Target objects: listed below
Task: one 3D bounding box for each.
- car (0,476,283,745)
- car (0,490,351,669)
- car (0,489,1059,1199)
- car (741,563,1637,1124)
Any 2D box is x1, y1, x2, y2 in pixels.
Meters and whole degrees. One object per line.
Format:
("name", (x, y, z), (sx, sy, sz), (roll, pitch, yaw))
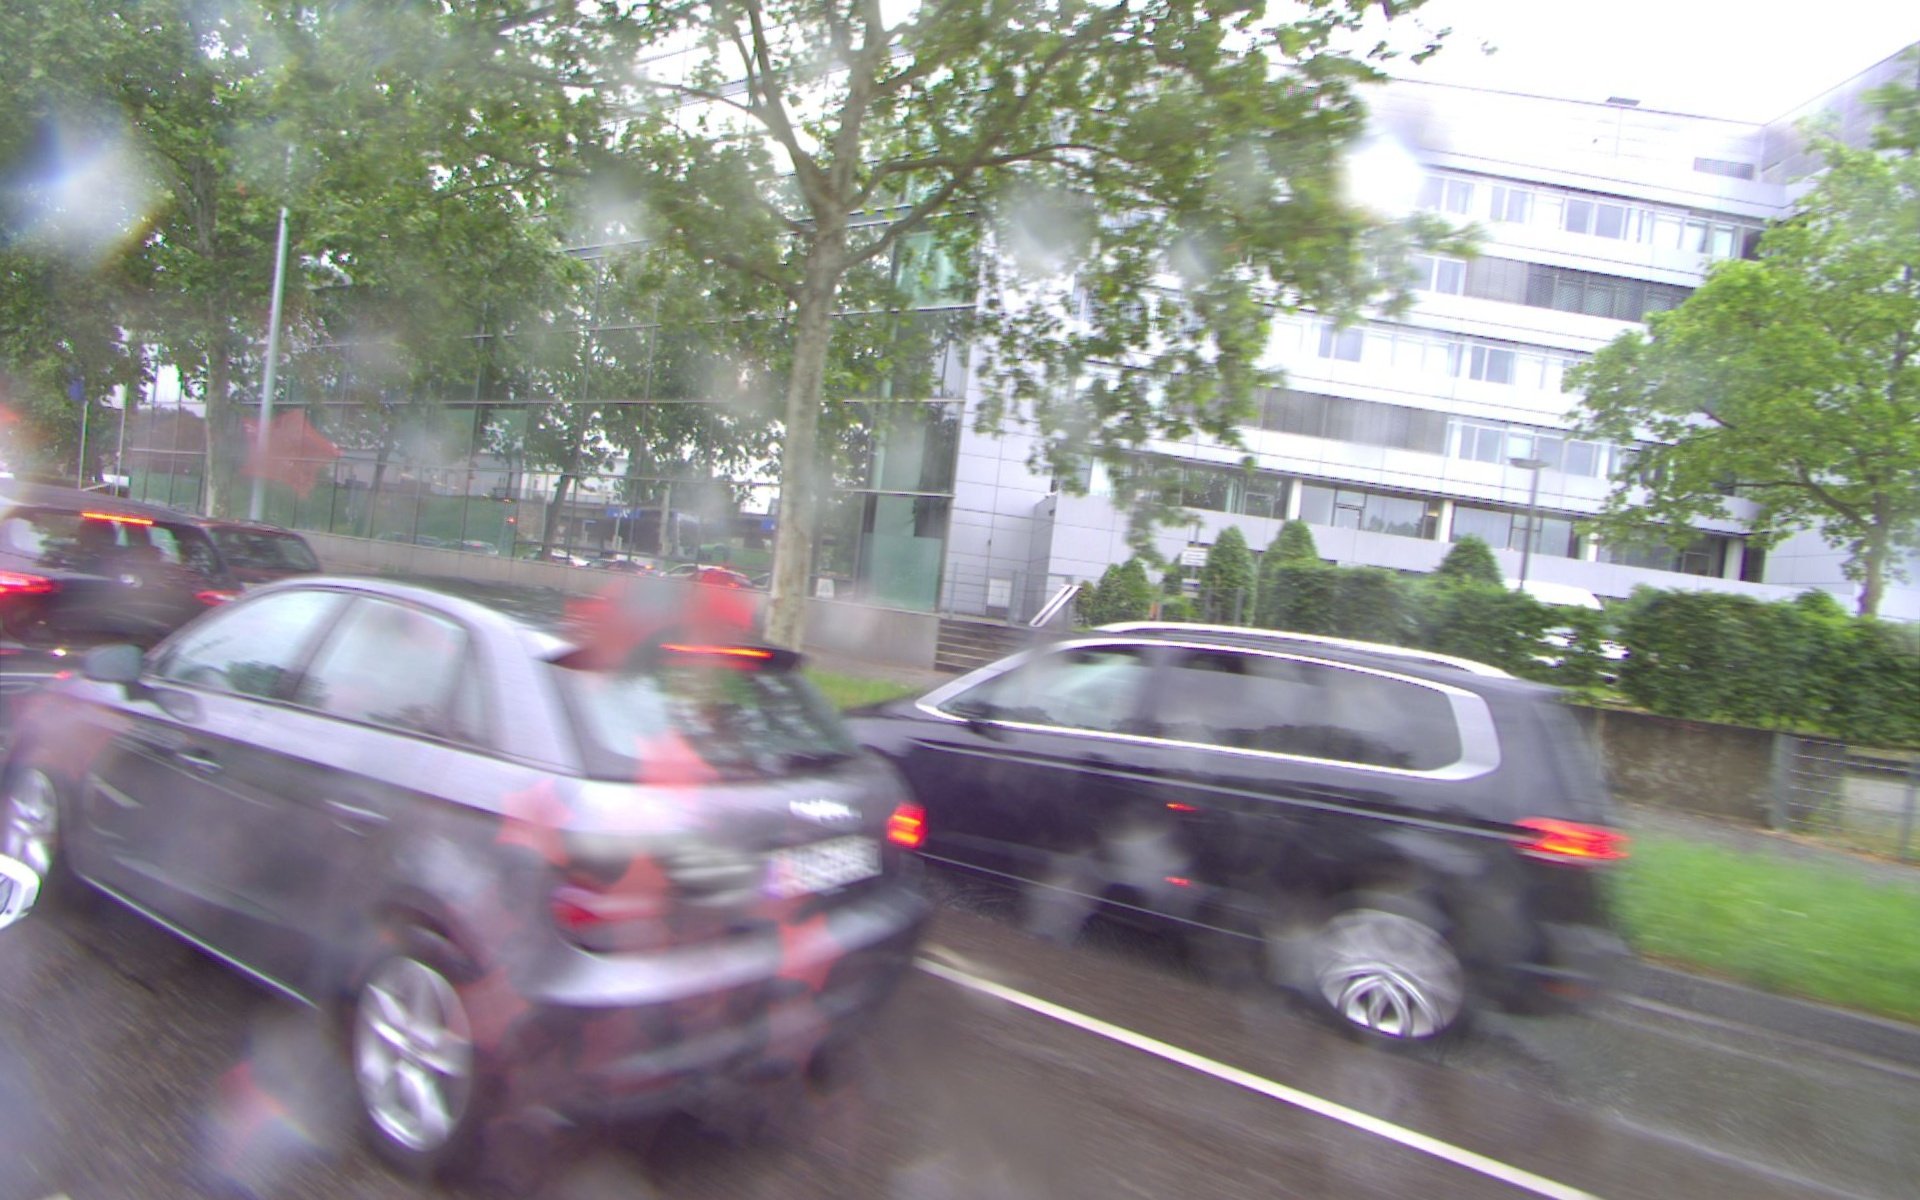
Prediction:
("car", (-7.013, -0.109, 7.391), (3.932, 1.568, 1.711), (8, 0, 30))
("car", (-9.225, -0.259, 11.702), (4.042, 1.555, 1.843), (7, -1, 30))
("car", (-1.895, 0.551, 3.845), (3.932, 1.469, 1.998), (7, -1, 30))
("car", (1.066, 0.935, 5.538), (4.120, 1.746, 1.860), (7, -1, 30))
